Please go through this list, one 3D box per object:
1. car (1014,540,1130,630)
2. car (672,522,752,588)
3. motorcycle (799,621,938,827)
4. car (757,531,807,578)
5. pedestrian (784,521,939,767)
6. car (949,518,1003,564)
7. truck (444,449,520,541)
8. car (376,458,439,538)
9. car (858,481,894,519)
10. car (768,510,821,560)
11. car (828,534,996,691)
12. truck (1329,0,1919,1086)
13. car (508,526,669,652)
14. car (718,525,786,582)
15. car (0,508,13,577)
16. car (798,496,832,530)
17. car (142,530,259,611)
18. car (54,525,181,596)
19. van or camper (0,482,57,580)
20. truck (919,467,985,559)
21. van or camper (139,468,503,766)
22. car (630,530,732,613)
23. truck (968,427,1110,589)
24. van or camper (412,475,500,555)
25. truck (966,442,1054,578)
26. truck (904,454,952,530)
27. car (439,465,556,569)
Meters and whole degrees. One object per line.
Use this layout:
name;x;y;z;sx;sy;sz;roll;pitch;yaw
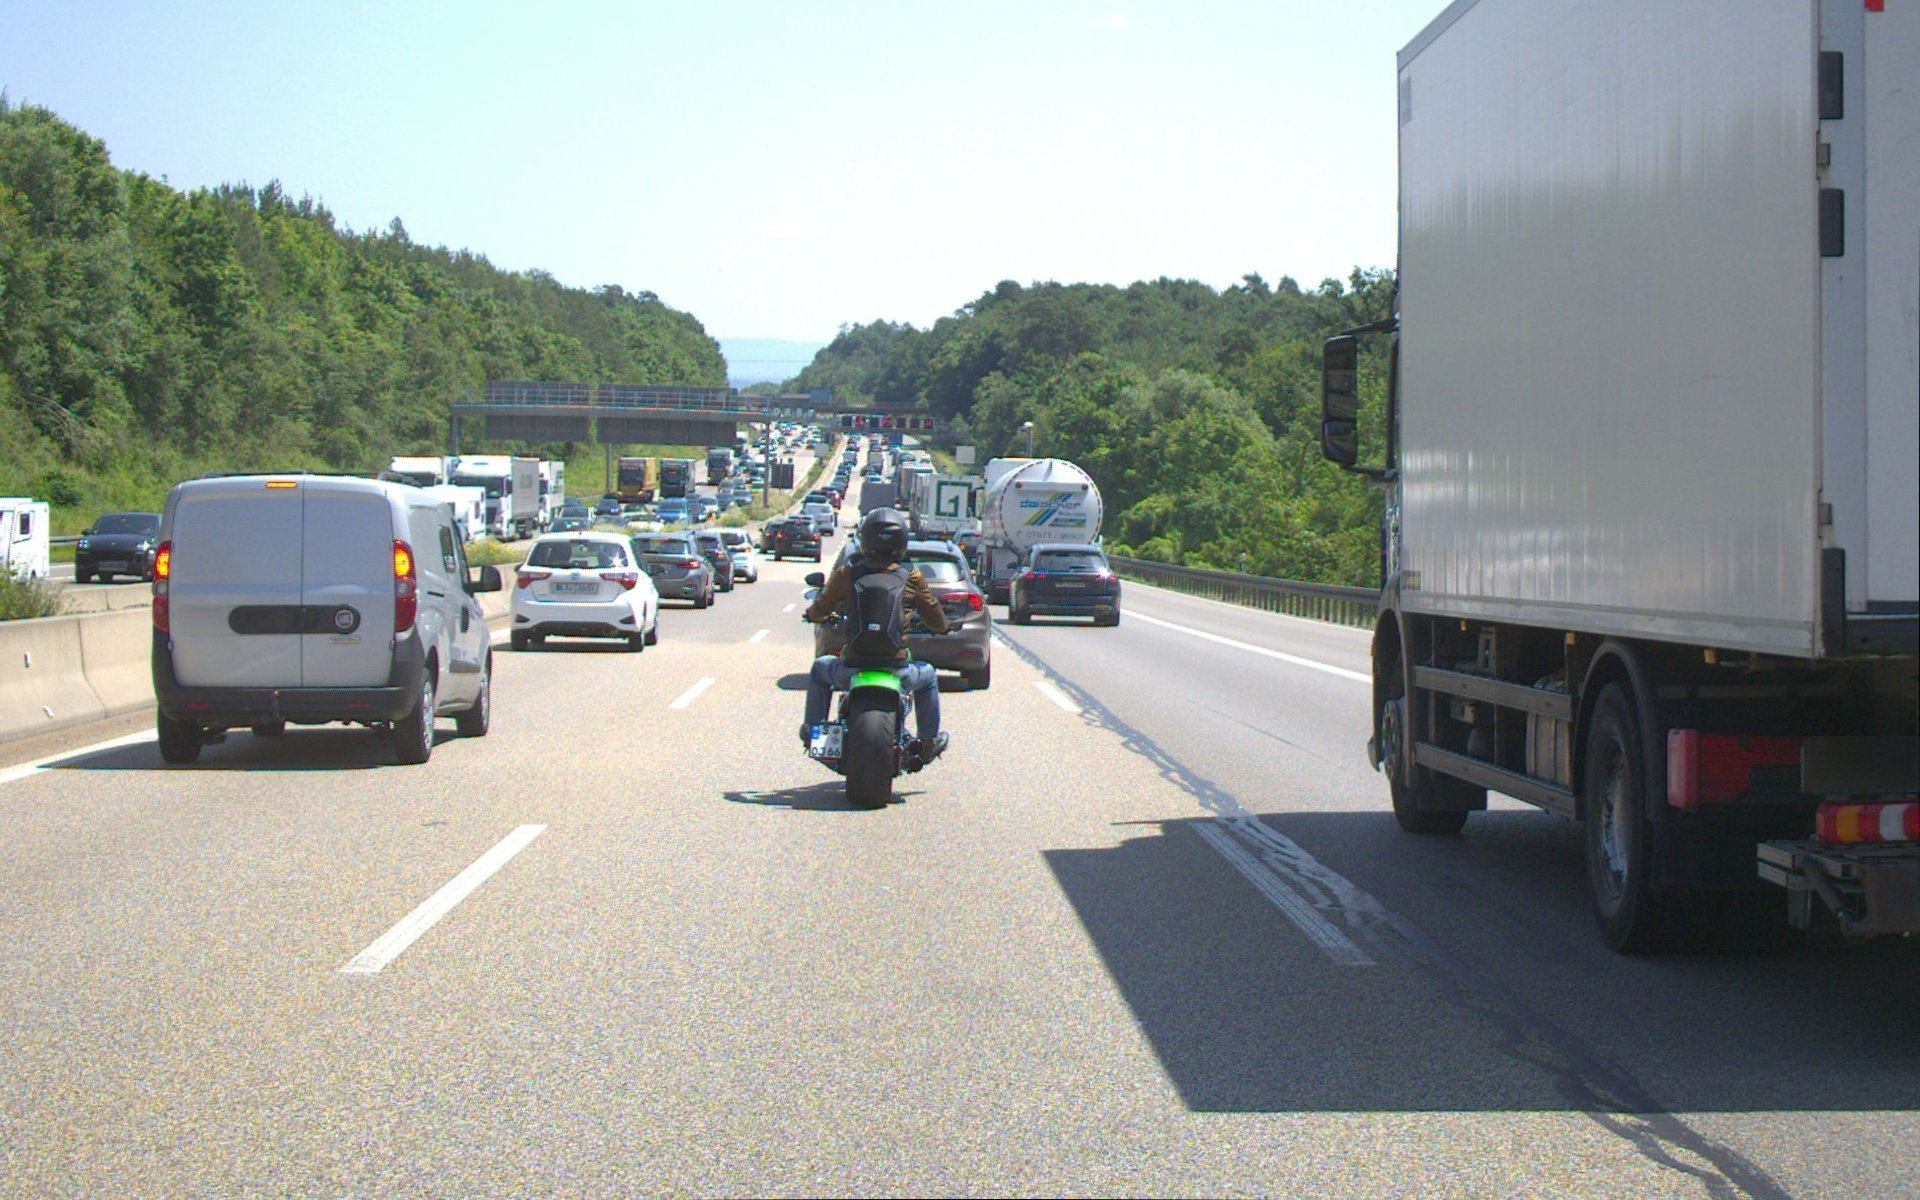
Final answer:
car;2.005;-0.291;62.640;1.828;1.465;4.001;3;2;-1
car;-5.967;-1.101;83.091;1.699;1.473;4.001;2;2;-1
motorcycle;-0.498;0.672;19.441;0.691;1.012;2.121;2;1;0
car;-7.738;-1.965;149.461;1.993;2.007;4.000;0;1;-1
pedestrian;-0.546;0.233;19.437;0.849;1.357;0.961;0;1;0
car;0.572;-2.132;123.328;1.787;1.550;3.804;2;2;-1
truck;-22.294;-4.888;160.590;2.840;4.199;5.660;1;1;-1
car;-27.100;-4.968;168.706;2.449;3.860;4.566;0;1;-2
car;-5.963;-7.089;244.347;2.504;2.578;5.017;2;2;-1
car;-6.482;-2.565;134.794;1.880;1.853;4.001;2;1;-1
car;-0.444;0.084;35.299;1.533;1.504;4.000;0;1;2
truck;3.504;-0.713;14.347;2.688;3.863;9.781;-1;1;-1
car;-4.757;-0.181;44.450;1.699;1.473;4.001;2;2;-1
car;-5.731;-1.308;95.154;1.699;1.473;4.001;2;2;-1
car;-19.733;-1.105;66.161;1.801;1.342;4.724;0;1;-1
car;-8.770;-5.231;207.709;1.929;2.007;4.000;0;1;-1
car;-16.461;-0.667;74.674;1.693;1.677;4.196;0;1;-1
car;-20.188;-0.967;82.558;1.925;1.634;4.928;0;1;-1
van or camper;-20.135;-1.431;70.884;2.076;1.970;3.705;0;1;-1
truck;-0.478;-4.590;180.015;3.033;4.526;9.984;3;2;-1
van or camper;-4.336;0.080;23.931;1.796;1.886;4.160;0;1;-1
car;-5.364;-0.585;66.557;1.699;1.473;4.001;2;2;-1
truck;1.811;-2.149;82.795;2.988;3.659;9.288;0;1;-1
van or camper;-17.802;-2.996;121.735;2.230;2.751;6.837;0;1;-1
truck;1.303;-2.373;91.834;1.993;3.510;4.752;0;1;-4
truck;-2.276;-7.595;242.483;3.033;5.121;9.984;3;2;-1
car;-8.864;-1.574;66.172;1.891;1.941;4.001;0;1;-3
